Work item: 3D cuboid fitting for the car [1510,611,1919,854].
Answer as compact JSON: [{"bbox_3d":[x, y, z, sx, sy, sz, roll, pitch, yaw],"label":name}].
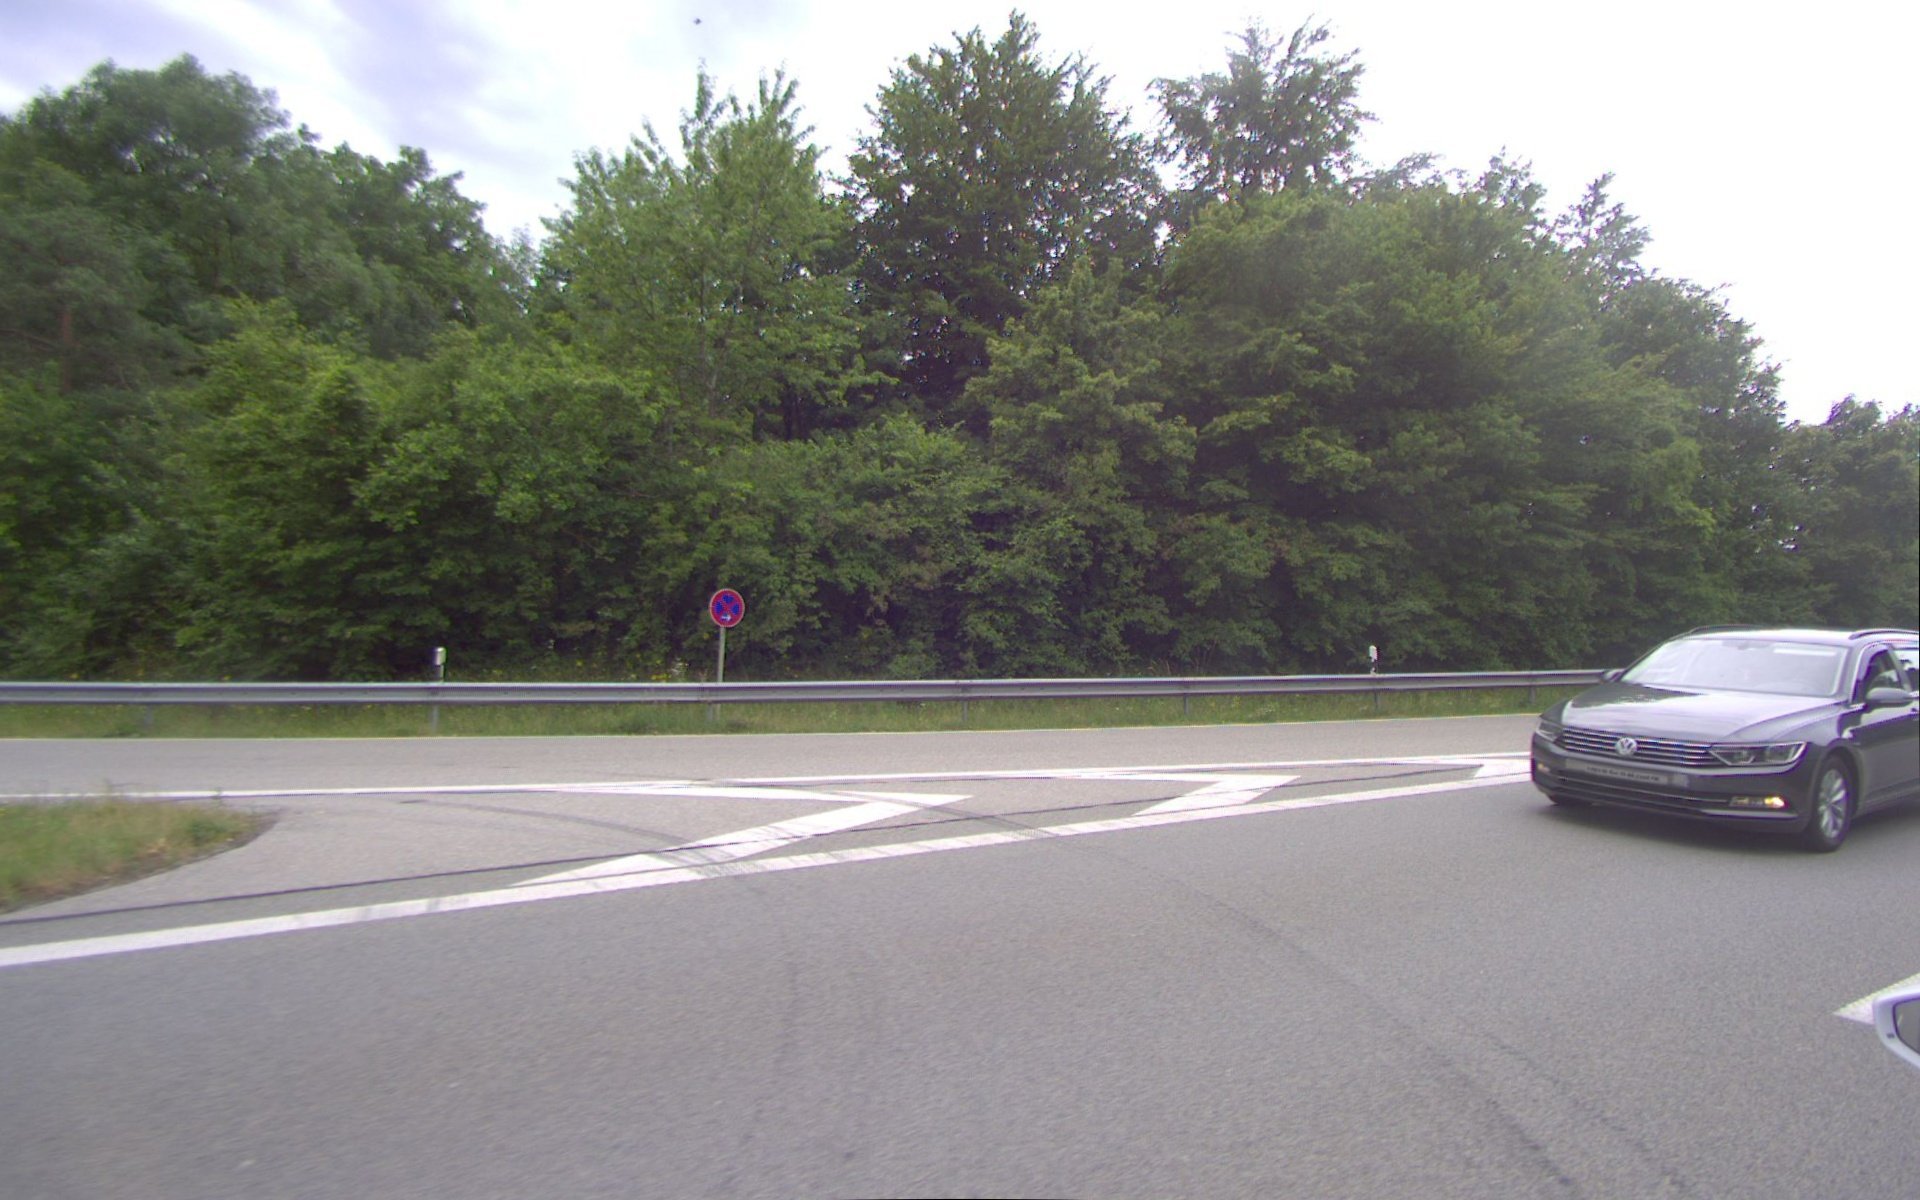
[{"bbox_3d":[6.591,0.873,8.087,4.396,1.461,1.799,1,0,-30],"label":"car"}]
